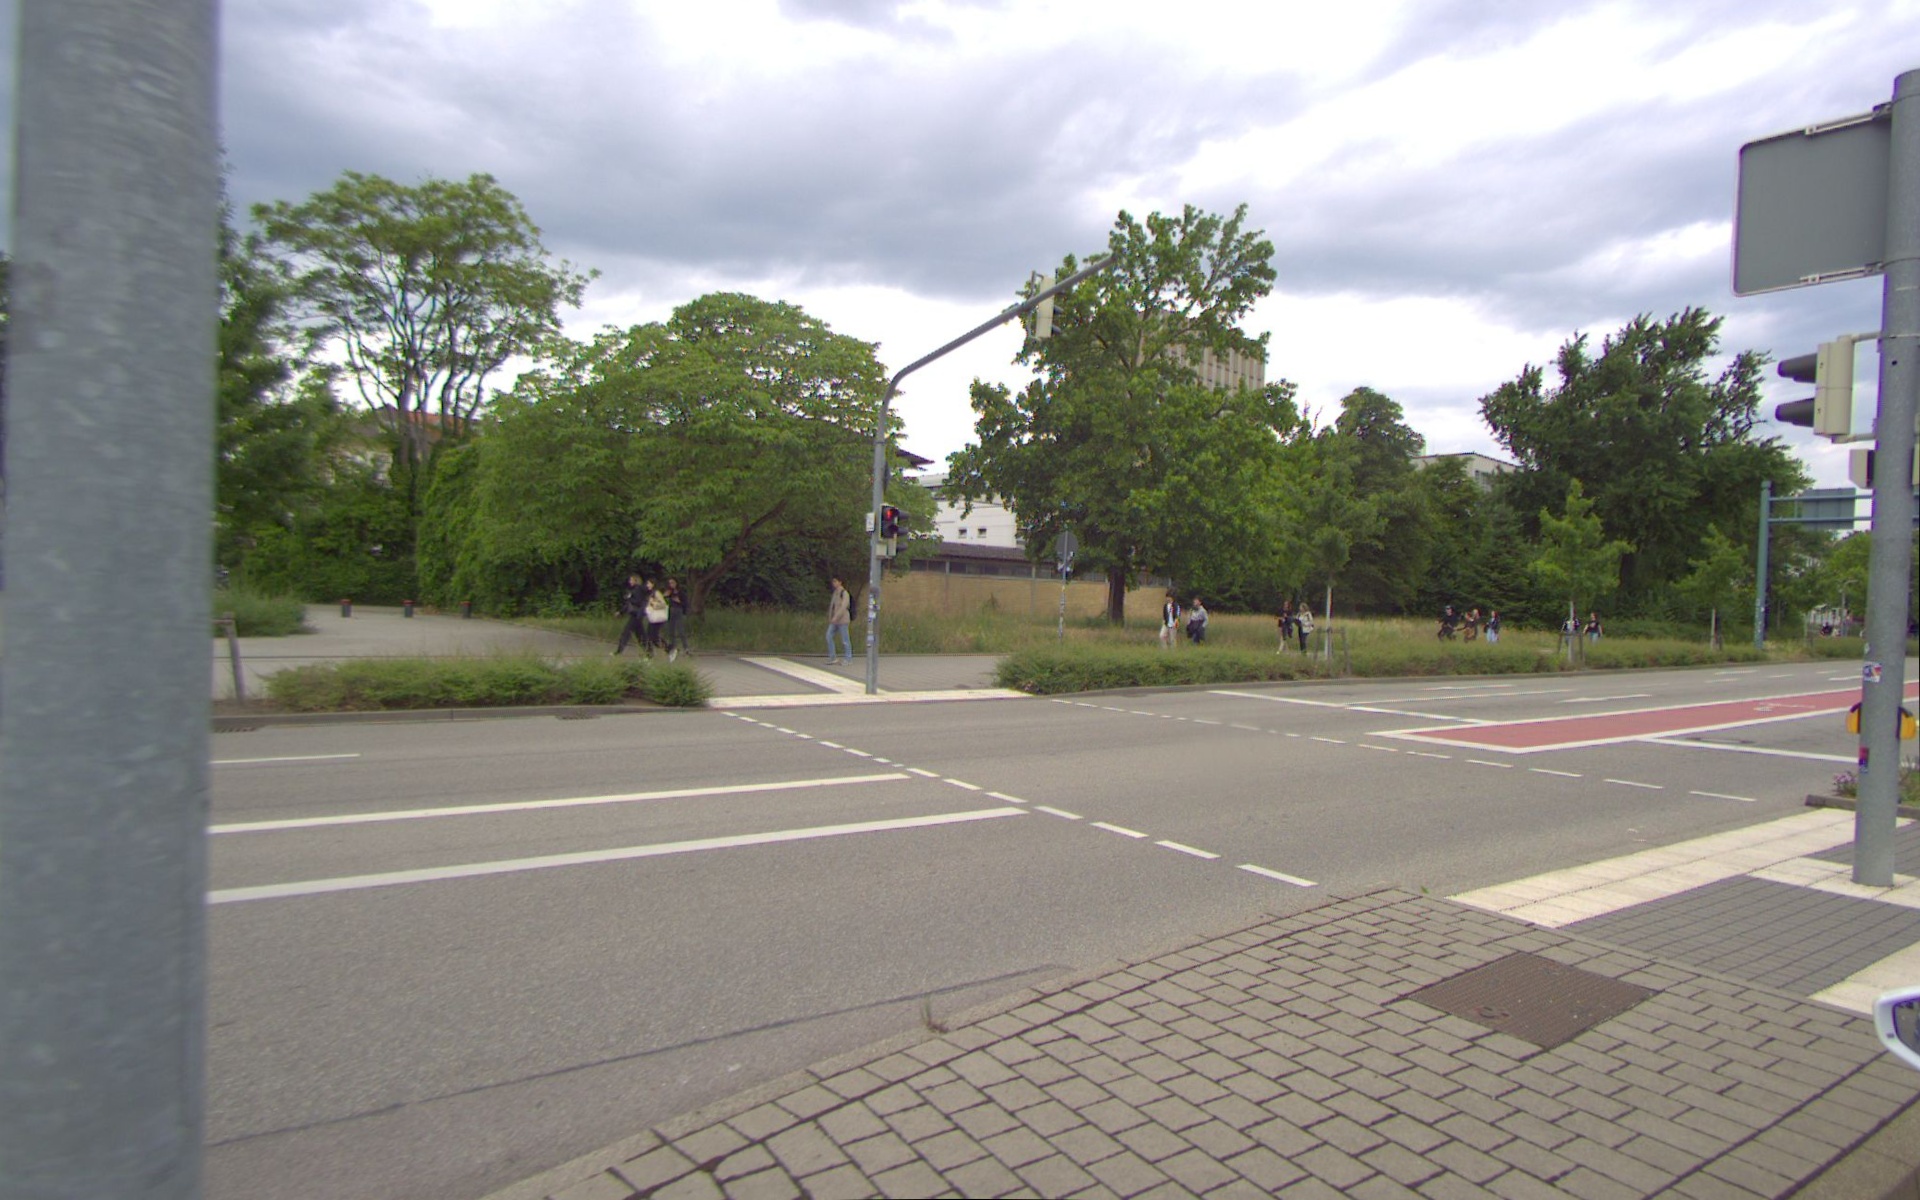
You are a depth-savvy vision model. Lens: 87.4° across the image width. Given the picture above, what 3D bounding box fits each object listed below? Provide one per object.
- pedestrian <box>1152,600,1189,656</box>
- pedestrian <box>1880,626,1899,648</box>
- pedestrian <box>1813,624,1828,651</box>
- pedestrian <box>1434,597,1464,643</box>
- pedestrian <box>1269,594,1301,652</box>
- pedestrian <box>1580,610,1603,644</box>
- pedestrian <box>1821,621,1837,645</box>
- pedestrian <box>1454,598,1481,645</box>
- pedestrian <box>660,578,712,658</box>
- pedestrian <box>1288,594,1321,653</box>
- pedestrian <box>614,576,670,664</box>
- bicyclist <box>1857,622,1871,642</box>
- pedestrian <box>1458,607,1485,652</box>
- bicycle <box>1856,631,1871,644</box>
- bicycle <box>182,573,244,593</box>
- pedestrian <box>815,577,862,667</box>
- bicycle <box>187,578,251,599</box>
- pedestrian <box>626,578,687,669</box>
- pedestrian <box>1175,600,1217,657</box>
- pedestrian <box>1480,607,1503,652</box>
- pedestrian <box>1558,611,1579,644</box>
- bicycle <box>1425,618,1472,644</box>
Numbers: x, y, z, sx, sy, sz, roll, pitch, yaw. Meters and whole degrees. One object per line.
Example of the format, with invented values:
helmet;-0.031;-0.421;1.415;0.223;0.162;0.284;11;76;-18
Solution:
pedestrian;5.756;0.757;27.465;0.754;1.499;0.631;1;0;-34
pedestrian;78.823;3.118;85.163;0.825;1.761;0.831;3;-3;14
pedestrian;57.549;2.481;67.148;0.811;1.752;0.615;1;0;-38
pedestrian;17.498;0.711;35.953;0.754;1.653;0.658;1;0;-29
pedestrian;9.901;0.701;30.591;0.754;1.734;0.575;1;0;-35
pedestrian;26.398;1.119;41.975;0.705;1.376;0.639;1;0;-39
pedestrian;61.188;2.334;70.731;0.665;1.658;0.695;1;0;-38
pedestrian;17.893;0.762;35.411;0.609;1.630;0.572;1;0;-29
pedestrian;-5.813;0.369;21.320;0.623;1.634;0.828;3;2;31
pedestrian;10.321;0.697;30.087;0.739;1.718;0.618;1;0;-34
pedestrian;-6.344;0.395;20.034;0.880;1.693;0.702;1;3;-34
bicyclist;78.801;2.792;87.550;0.657;1.657;0.958;4;1;35
pedestrian;19.746;1.141;38.767;0.762;1.695;0.700;1;0;-43
bicycle;78.823;3.290;87.636;0.657;1.076;1.614;4;1;34
bicycle;-37.083;-0.832;49.890;2.318;0.951;0.850;1;0;-28
pedestrian;-2.549;0.451;21.051;0.754;1.825;0.633;1;1;-34
bicycle;-35.871;-0.537;48.671;2.311;0.951;0.852;1;0;-19
pedestrian;-5.877;0.441;19.432;0.933;1.693;0.702;1;2;-34
pedestrian;6.301;0.760;26.806;0.804;1.499;0.724;1;0;-34
pedestrian;20.248;1.132;38.278;0.715;1.682;0.580;1;0;-43
pedestrian;25.948;1.162;42.845;0.638;1.381;0.676;1;0;45
bicycle;17.493;1.113;35.952;1.694;0.899;0.658;1;0;-29
